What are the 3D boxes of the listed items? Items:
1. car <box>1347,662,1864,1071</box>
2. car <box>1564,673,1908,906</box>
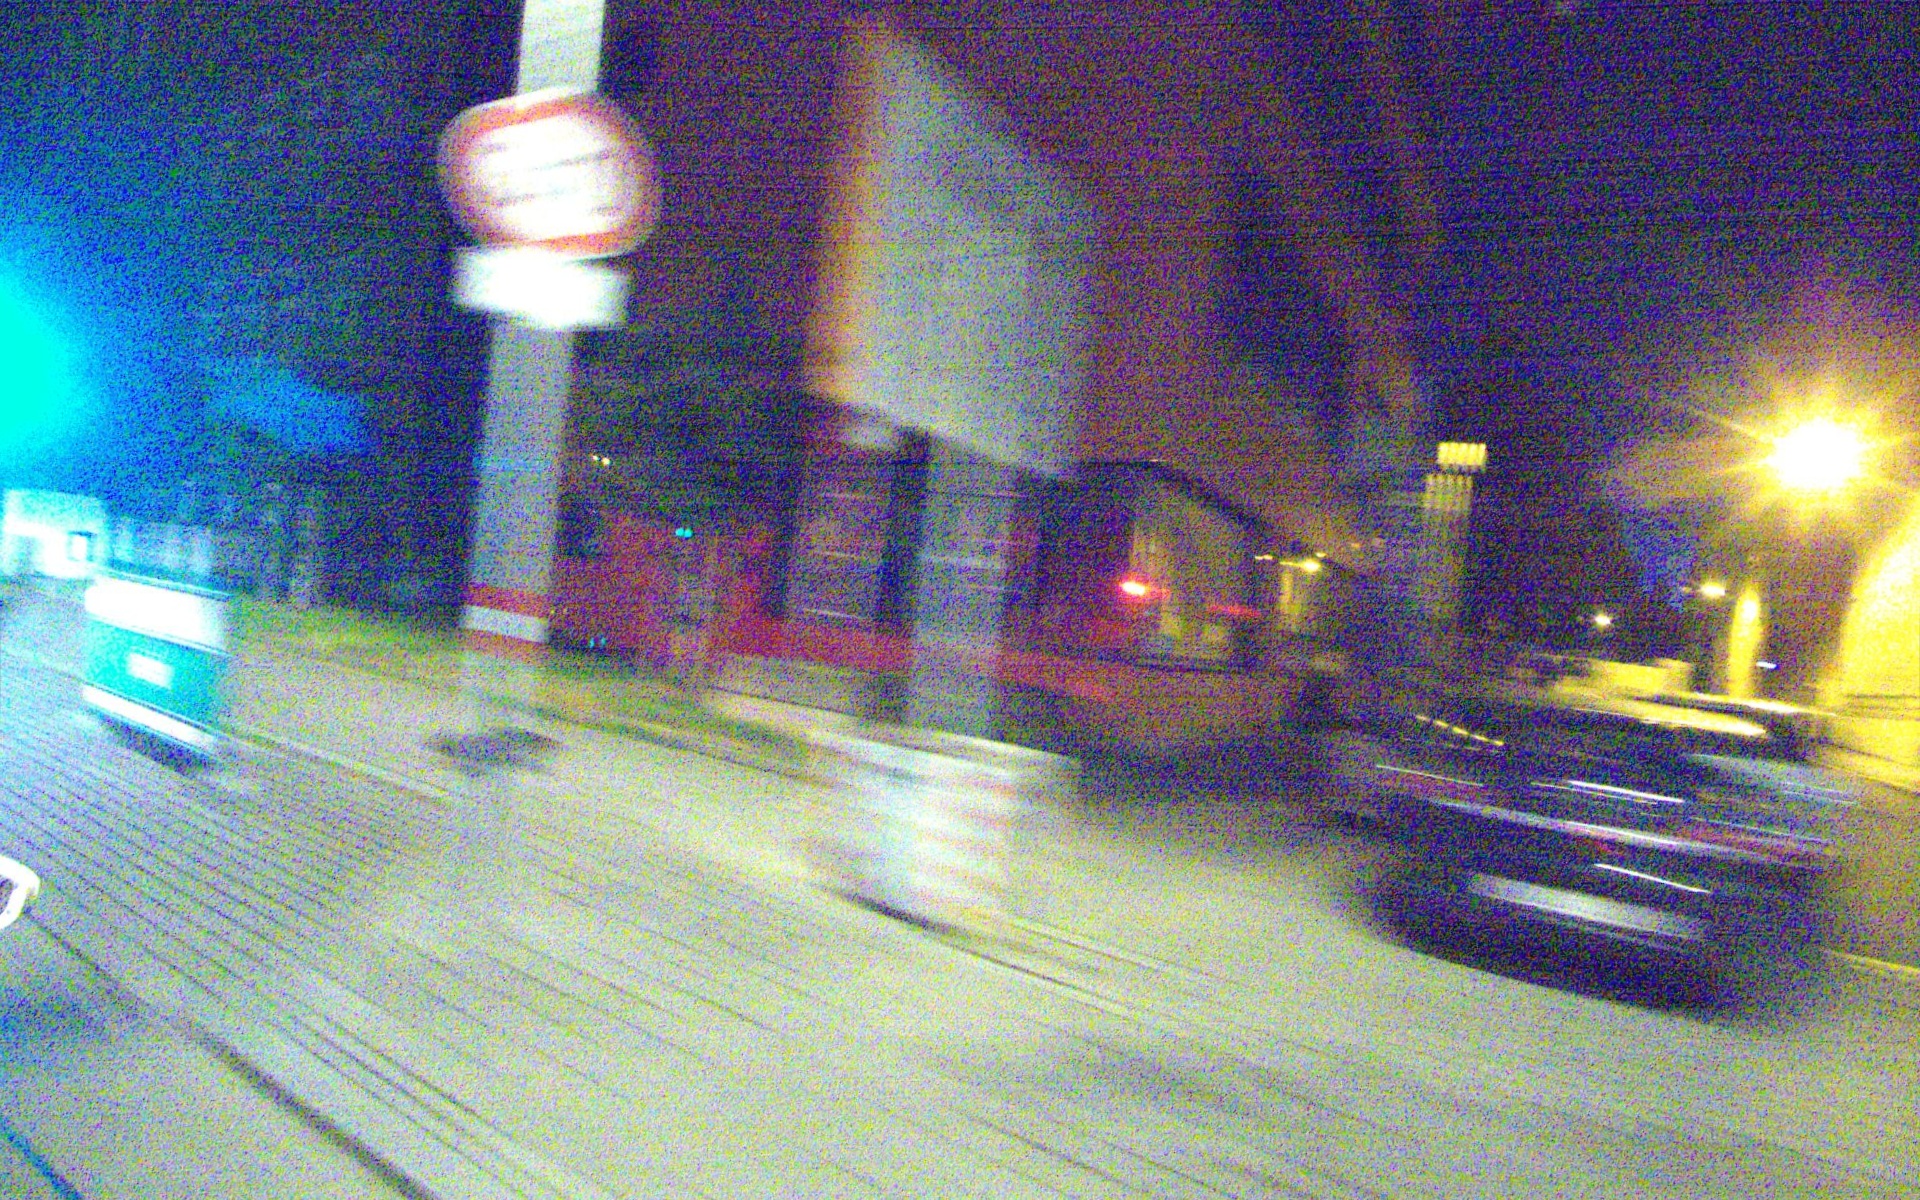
[{"bbox_3d":[3.720,1.230,6.182,1.821,1.439,4.021,5,-2,30],"label":"car"},{"bbox_3d":[7.096,1.561,9.705,1.820,1.486,4.199,6,0,28],"label":"car"}]
